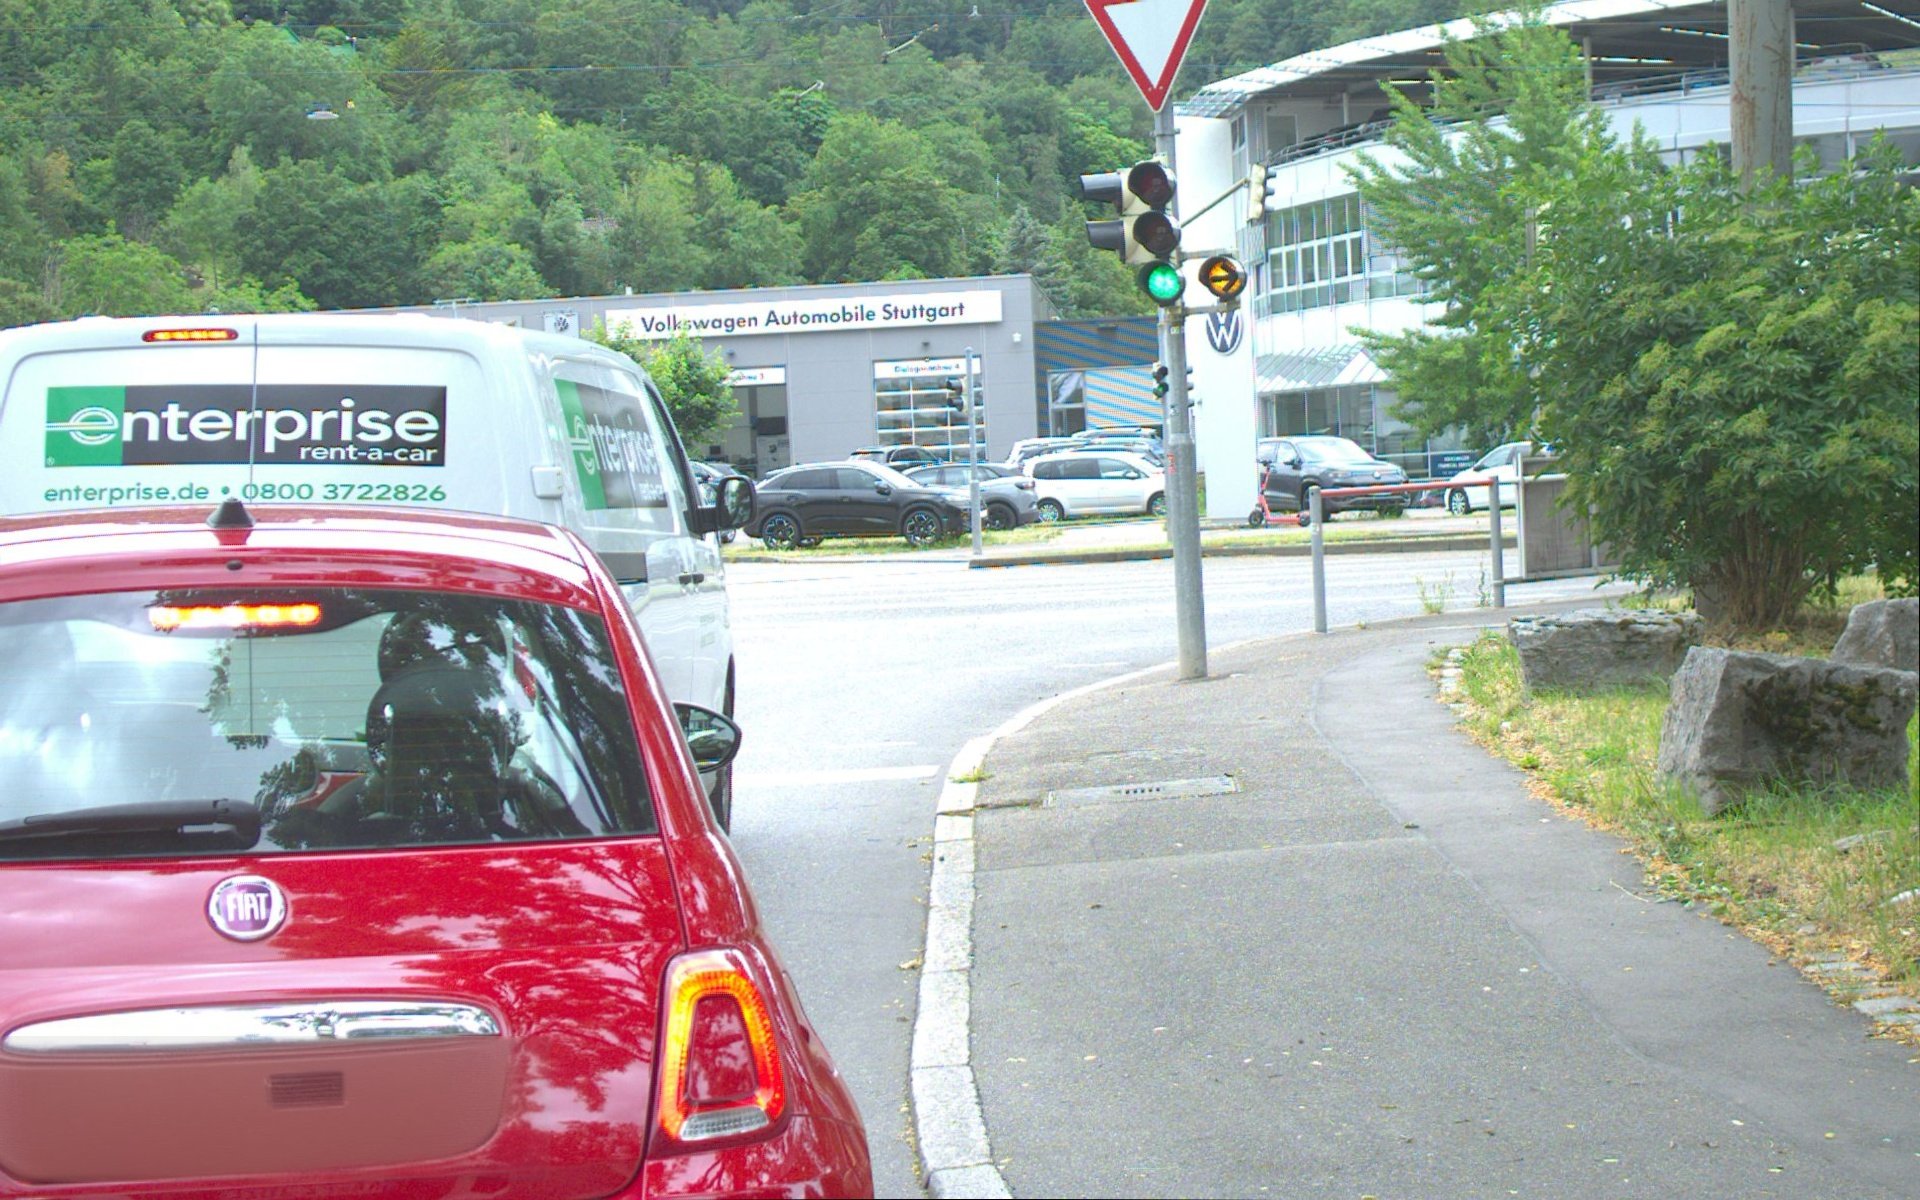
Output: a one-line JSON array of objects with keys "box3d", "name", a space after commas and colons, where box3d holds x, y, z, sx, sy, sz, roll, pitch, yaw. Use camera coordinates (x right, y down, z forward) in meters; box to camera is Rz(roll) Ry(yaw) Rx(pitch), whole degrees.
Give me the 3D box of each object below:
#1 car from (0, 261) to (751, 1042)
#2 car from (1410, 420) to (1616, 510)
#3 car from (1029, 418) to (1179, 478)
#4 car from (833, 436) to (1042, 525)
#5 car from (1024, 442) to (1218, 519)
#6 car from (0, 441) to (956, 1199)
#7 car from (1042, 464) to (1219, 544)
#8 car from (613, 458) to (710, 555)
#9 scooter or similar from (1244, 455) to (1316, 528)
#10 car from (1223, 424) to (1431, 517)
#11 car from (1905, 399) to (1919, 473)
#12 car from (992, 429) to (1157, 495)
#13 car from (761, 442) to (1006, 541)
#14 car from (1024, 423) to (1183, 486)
[{"box3d": [-1.903, -0.001, 11.440, 1.998, 2.033, 4.832, 1, 3, 1], "name": "car"}, {"box3d": [10.825, -2.622, 67.522, 1.993, 1.634, 4.001, 1, 1, -27], "name": "car"}, {"box3d": [4.409, -4.674, 105.817, 4.495, 1.723, 2.000, 1, 0, -1], "name": "car"}, {"box3d": [-0.485, -2.421, 70.182, 3.986, 1.700, 2.001, 1, 0, -9], "name": "car"}, {"box3d": [3.780, -2.812, 81.380, 4.496, 1.723, 2.000, 1, 0, 1], "name": "car"}, {"box3d": [-1.240, 0.514, 5.837, 1.697, 1.520, 4.002, 1, 2, -11], "name": "car"}, {"box3d": [4.442, -2.507, 90.059, 4.495, 1.990, 2.000, 1, 0, -1], "name": "car"}, {"box3d": [-6.838, -2.120, 79.148, 1.993, 2.007, 5.018, -3, 0, -4], "name": "car"}, {"box3d": [5.785, -1.954, 62.194, 1.200, 1.283, 0.575, 1, 0, -5], "name": "scooter or similar"}, {"box3d": [6.915, -2.433, 65.093, 1.993, 1.634, 4.001, -2, 2, -27], "name": "car"}, {"box3d": [21.754, -3.480, 71.260, 1.921, 1.548, 4.001, -4, 3, -27], "name": "car"}, {"box3d": [3.182, -3.864, 96.310, 4.495, 1.723, 2.000, 1, 0, -1], "name": "car"}, {"box3d": [-1.351, -1.958, 61.426, 3.989, 1.634, 1.999, 1, 5, 13], "name": "car"}, {"box3d": [4.175, -4.259, 100.648, 4.495, 1.723, 2.000, 1, 0, -1], "name": "car"}]
